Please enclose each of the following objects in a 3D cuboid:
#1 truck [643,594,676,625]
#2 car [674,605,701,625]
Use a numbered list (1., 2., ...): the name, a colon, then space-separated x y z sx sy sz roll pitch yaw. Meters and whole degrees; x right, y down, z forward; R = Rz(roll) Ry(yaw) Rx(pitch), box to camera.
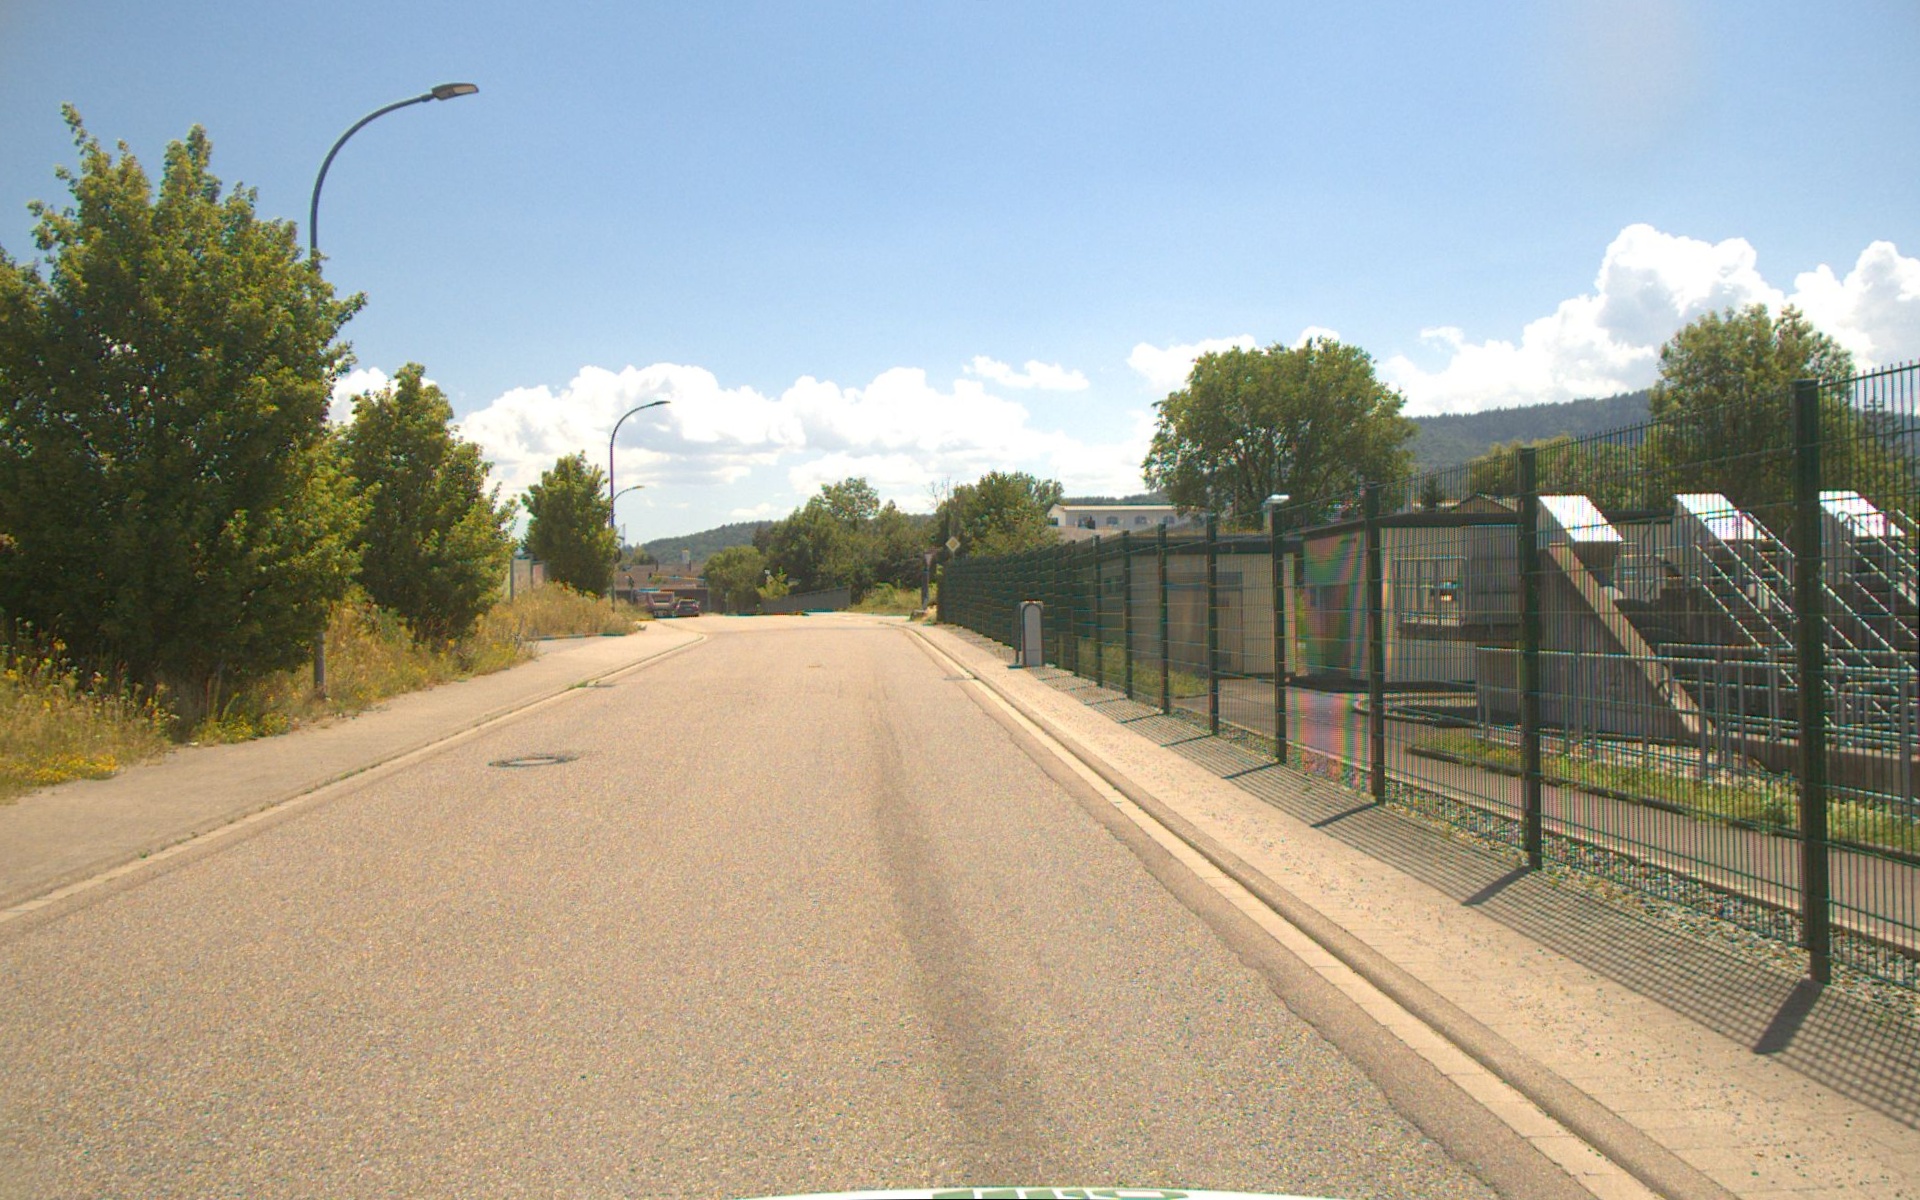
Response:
1. truck: -28.118 0.854 154.540 2.638 2.821 6.067 0 0 -14
2. car: -21.214 1.144 128.696 1.746 1.473 3.439 0 0 -14
